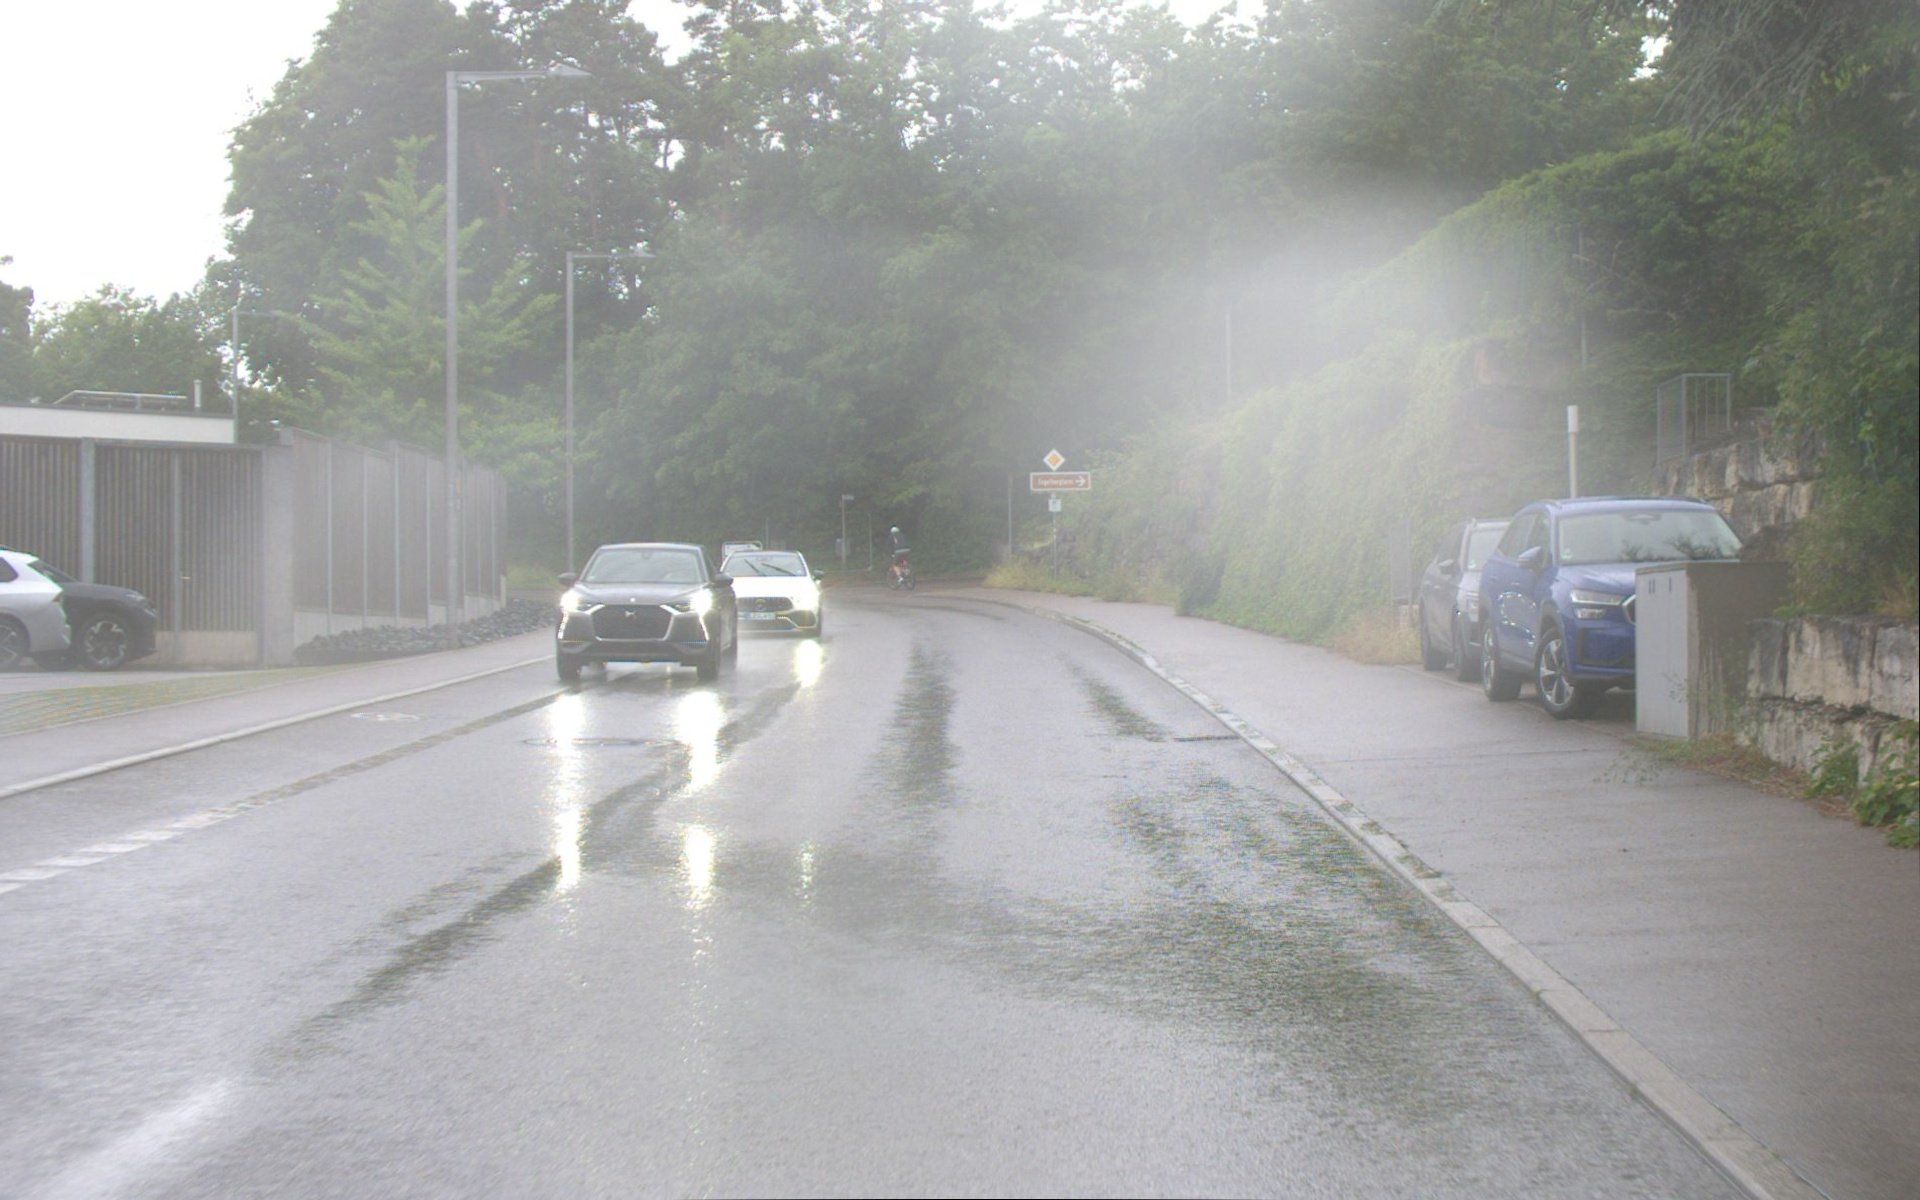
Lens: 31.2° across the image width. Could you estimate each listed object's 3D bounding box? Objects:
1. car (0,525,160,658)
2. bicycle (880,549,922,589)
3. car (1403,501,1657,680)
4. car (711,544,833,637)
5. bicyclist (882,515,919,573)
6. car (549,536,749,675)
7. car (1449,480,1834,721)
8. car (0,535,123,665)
[{"bbox_3d":[-12.114,-0.124,41.753,4.280,1.595,1.838,0,1,-34],"label":"car"},{"bbox_3d":[-1.645,-0.859,95.739,0.527,1.081,1.621,0,1,-25],"label":"bicycle"},{"bbox_3d":[5.451,-0.117,33.318,1.810,1.558,4.010,-3,1,1],"label":"car"},{"bbox_3d":[-3.080,-0.184,57.039,1.847,1.455,4.268,1,1,-1],"label":"car"},{"bbox_3d":[-1.653,-1.554,95.811,0.720,1.609,0.905,1,1,-22],"label":"bicyclist"},{"bbox_3d":[-3.459,0.029,38.825,1.851,1.464,3.699,1,1,1],"label":"car"},{"bbox_3d":[5.274,-0.029,27.224,1.993,1.664,4.544,-3,1,-1],"label":"car"},{"bbox_3d":[-11.882,-0.036,38.519,4.520,1.437,1.761,1,0,-38],"label":"car"}]
